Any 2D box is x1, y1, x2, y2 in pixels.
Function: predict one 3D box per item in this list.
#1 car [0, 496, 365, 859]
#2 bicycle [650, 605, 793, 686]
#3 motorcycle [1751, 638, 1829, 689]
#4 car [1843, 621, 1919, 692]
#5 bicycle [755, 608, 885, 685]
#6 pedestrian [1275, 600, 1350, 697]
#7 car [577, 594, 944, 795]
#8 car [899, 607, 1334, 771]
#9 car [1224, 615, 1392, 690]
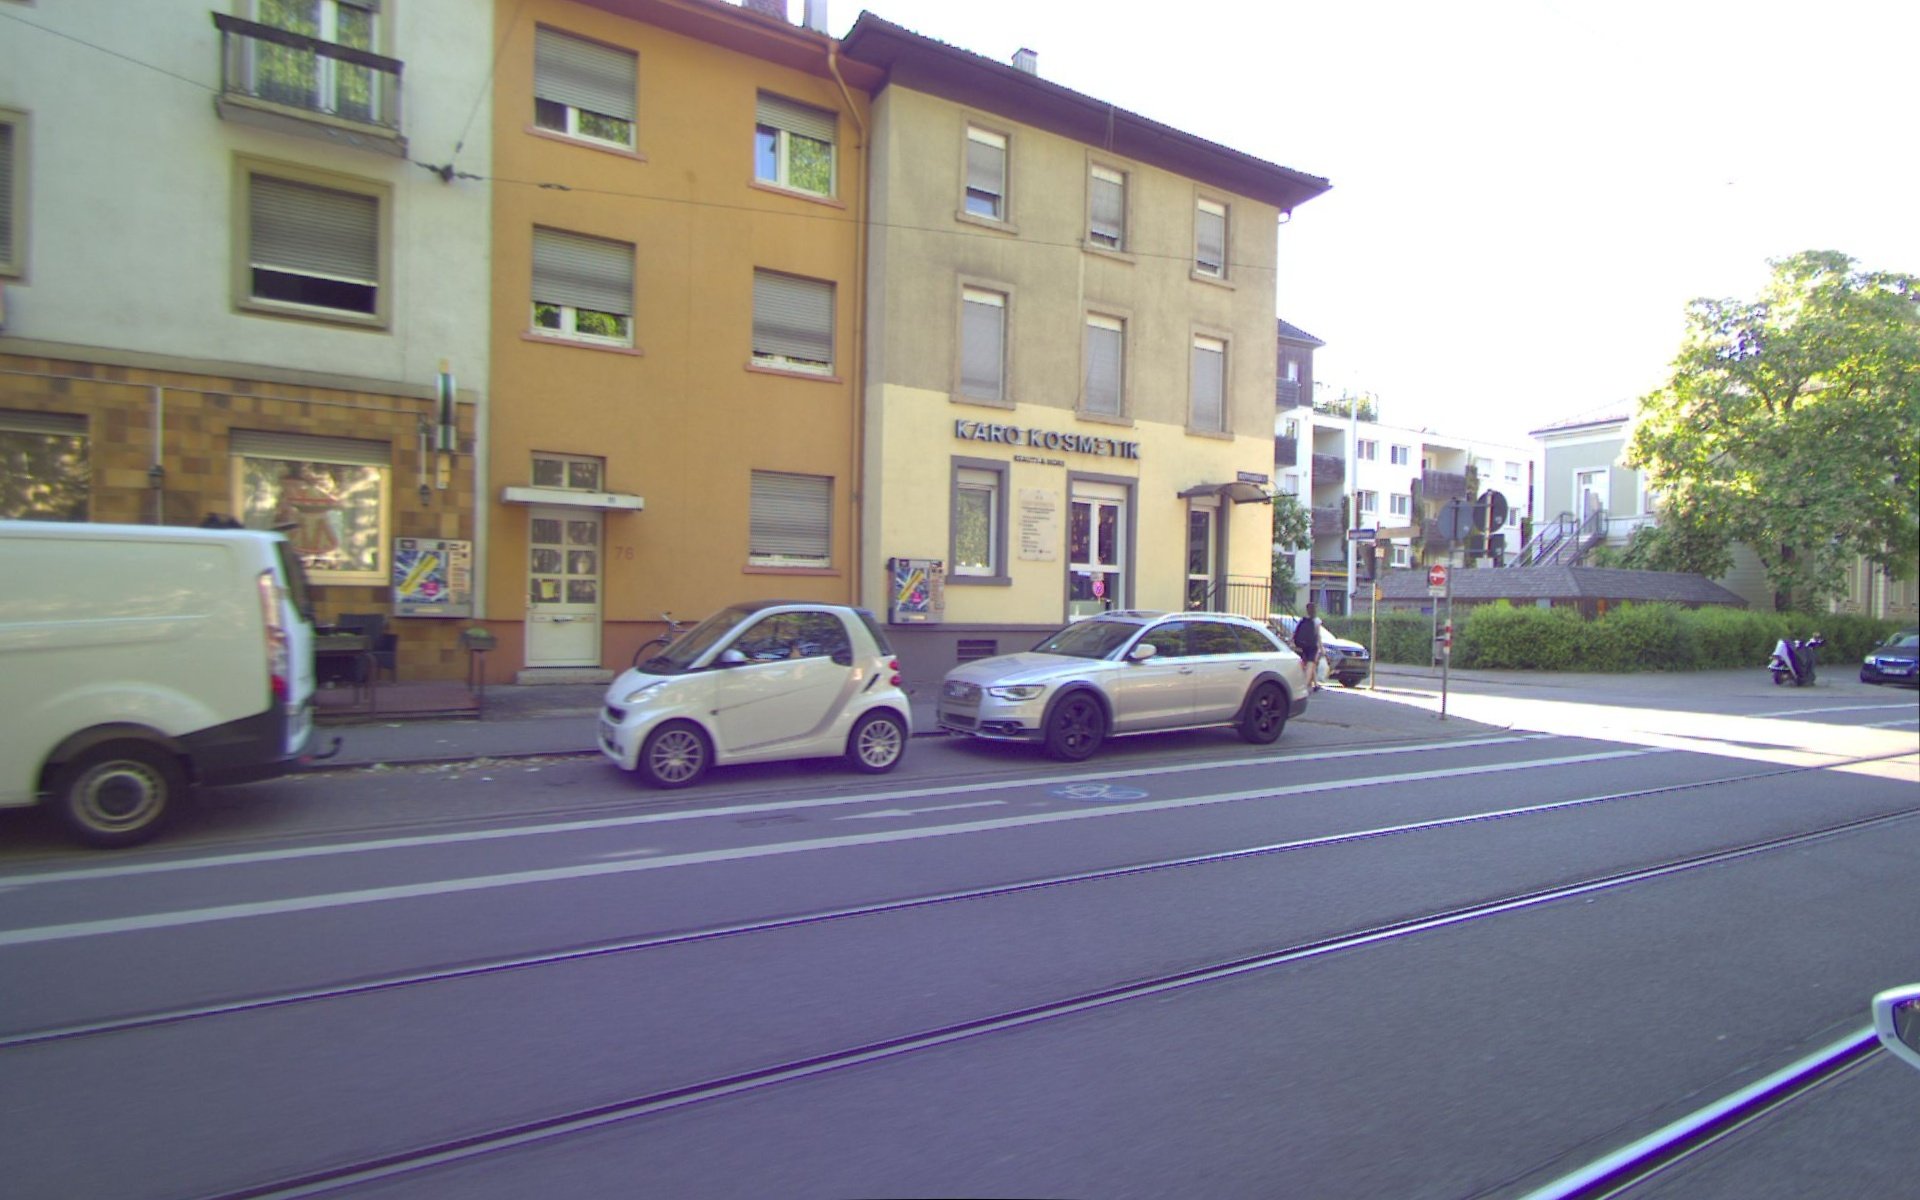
[{"bbox_3d":[-6.725,0.396,6.221,5.191,2.120,1.941,0,3,-33],"label":"car"},{"bbox_3d":[-3.586,0.680,15.115,2.036,1.160,0.573,1,0,-20],"label":"bicycle"},{"bbox_3d":[20.582,1.553,24.900,2.302,1.122,0.759,-1,1,-31],"label":"motorcycle"},{"bbox_3d":[24.721,1.423,25.839,4.295,1.608,1.777,1,3,-32],"label":"car"},{"bbox_3d":[-2.204,0.732,15.984,1.967,1.170,0.582,1,0,0],"label":"bicycle"},{"bbox_3d":[6.080,0.823,17.342,0.930,1.614,0.783,1,0,-30],"label":"pedestrian"},{"bbox_3d":[-1.847,0.779,9.326,3.003,1.547,1.565,2,1,-29],"label":"car"},{"bbox_3d":[1.936,0.885,11.617,5.014,1.488,1.825,1,1,-33],"label":"car"},{"bbox_3d":[8.054,1.178,23.609,1.782,1.579,3.672,1,-1,-21],"label":"car"}]
